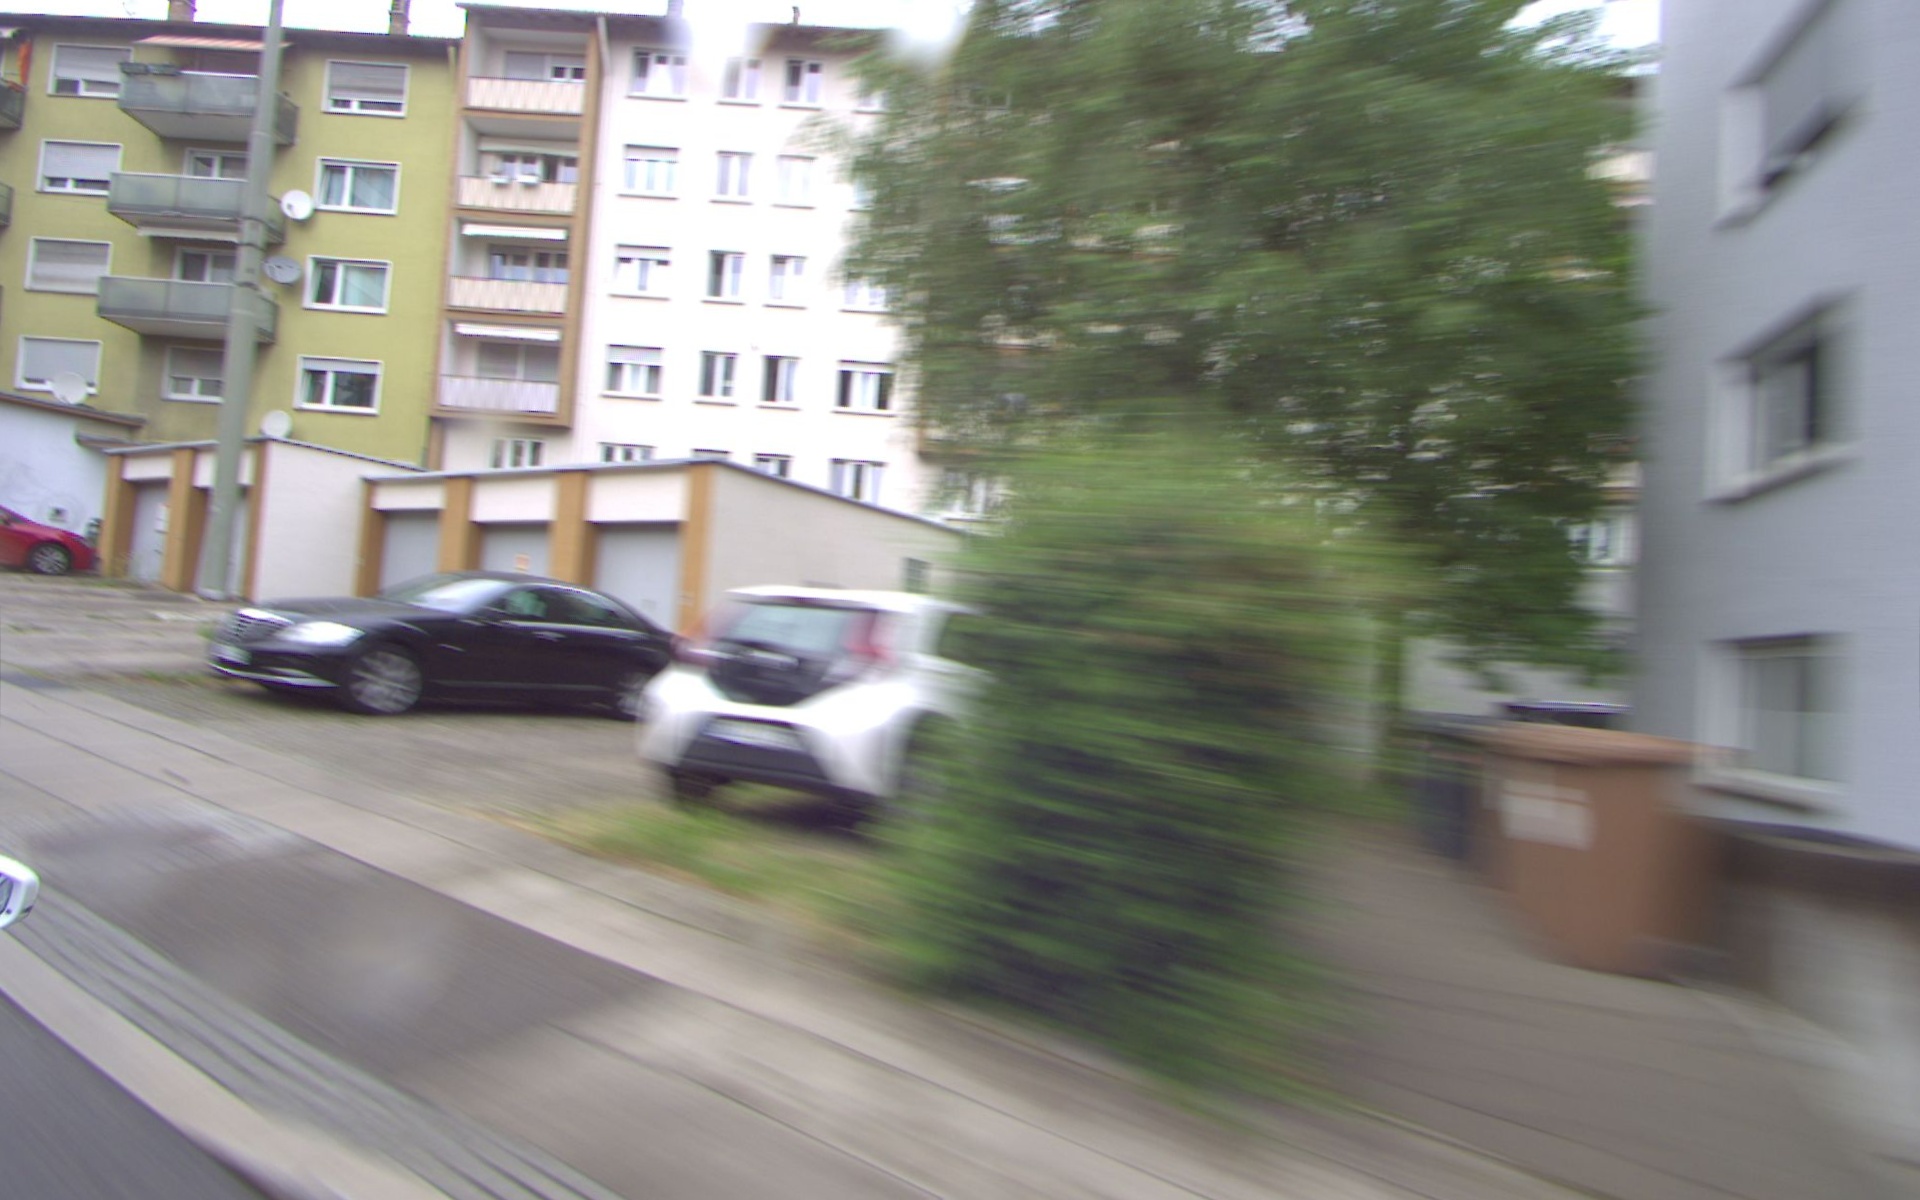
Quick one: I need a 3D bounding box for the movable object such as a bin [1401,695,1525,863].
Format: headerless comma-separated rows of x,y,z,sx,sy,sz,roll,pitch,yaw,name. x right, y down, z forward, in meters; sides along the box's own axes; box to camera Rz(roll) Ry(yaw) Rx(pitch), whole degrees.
3.811,1.332,7.664,0.631,1.125,0.517,8,-1,16,movable object such as a bin

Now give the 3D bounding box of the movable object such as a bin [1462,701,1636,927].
3.378,1.199,5.818,0.631,1.125,0.517,8,-1,16,movable object such as a bin

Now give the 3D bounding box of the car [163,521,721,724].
-5.078,0.402,10.764,1.941,1.452,4.948,6,-5,30,car

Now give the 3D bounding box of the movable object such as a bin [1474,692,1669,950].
3.176,1.117,5.278,0.631,1.172,0.517,8,-1,16,movable object such as a bin

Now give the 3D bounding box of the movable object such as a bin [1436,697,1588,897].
3.542,1.239,6.499,0.631,1.125,0.517,8,-1,16,movable object such as a bin

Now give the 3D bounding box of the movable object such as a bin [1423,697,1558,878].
3.738,1.300,7.132,0.631,1.125,0.517,8,-1,16,movable object such as a bin

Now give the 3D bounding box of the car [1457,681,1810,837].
9.846,2.298,15.065,3.925,1.527,1.693,8,-3,18,car

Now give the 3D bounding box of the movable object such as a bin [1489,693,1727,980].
3.014,1.063,4.740,0.688,1.152,0.536,8,-2,14,movable object such as a bin

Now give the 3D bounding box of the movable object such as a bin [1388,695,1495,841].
4.164,1.436,8.746,0.631,1.125,0.517,8,-1,16,movable object such as a bin

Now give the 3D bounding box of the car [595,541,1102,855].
-0.455,0.721,7.433,1.784,1.482,4.004,7,-4,24,car

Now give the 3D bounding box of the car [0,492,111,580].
-18.580,-1.378,18.168,1.735,1.455,4.579,7,-1,29,car

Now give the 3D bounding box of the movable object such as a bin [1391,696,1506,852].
3.970,1.393,8.217,0.631,1.125,0.517,8,-1,16,movable object such as a bin

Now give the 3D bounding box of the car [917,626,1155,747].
1.535,1.685,19.893,4.339,1.621,1.753,8,-3,10,car
